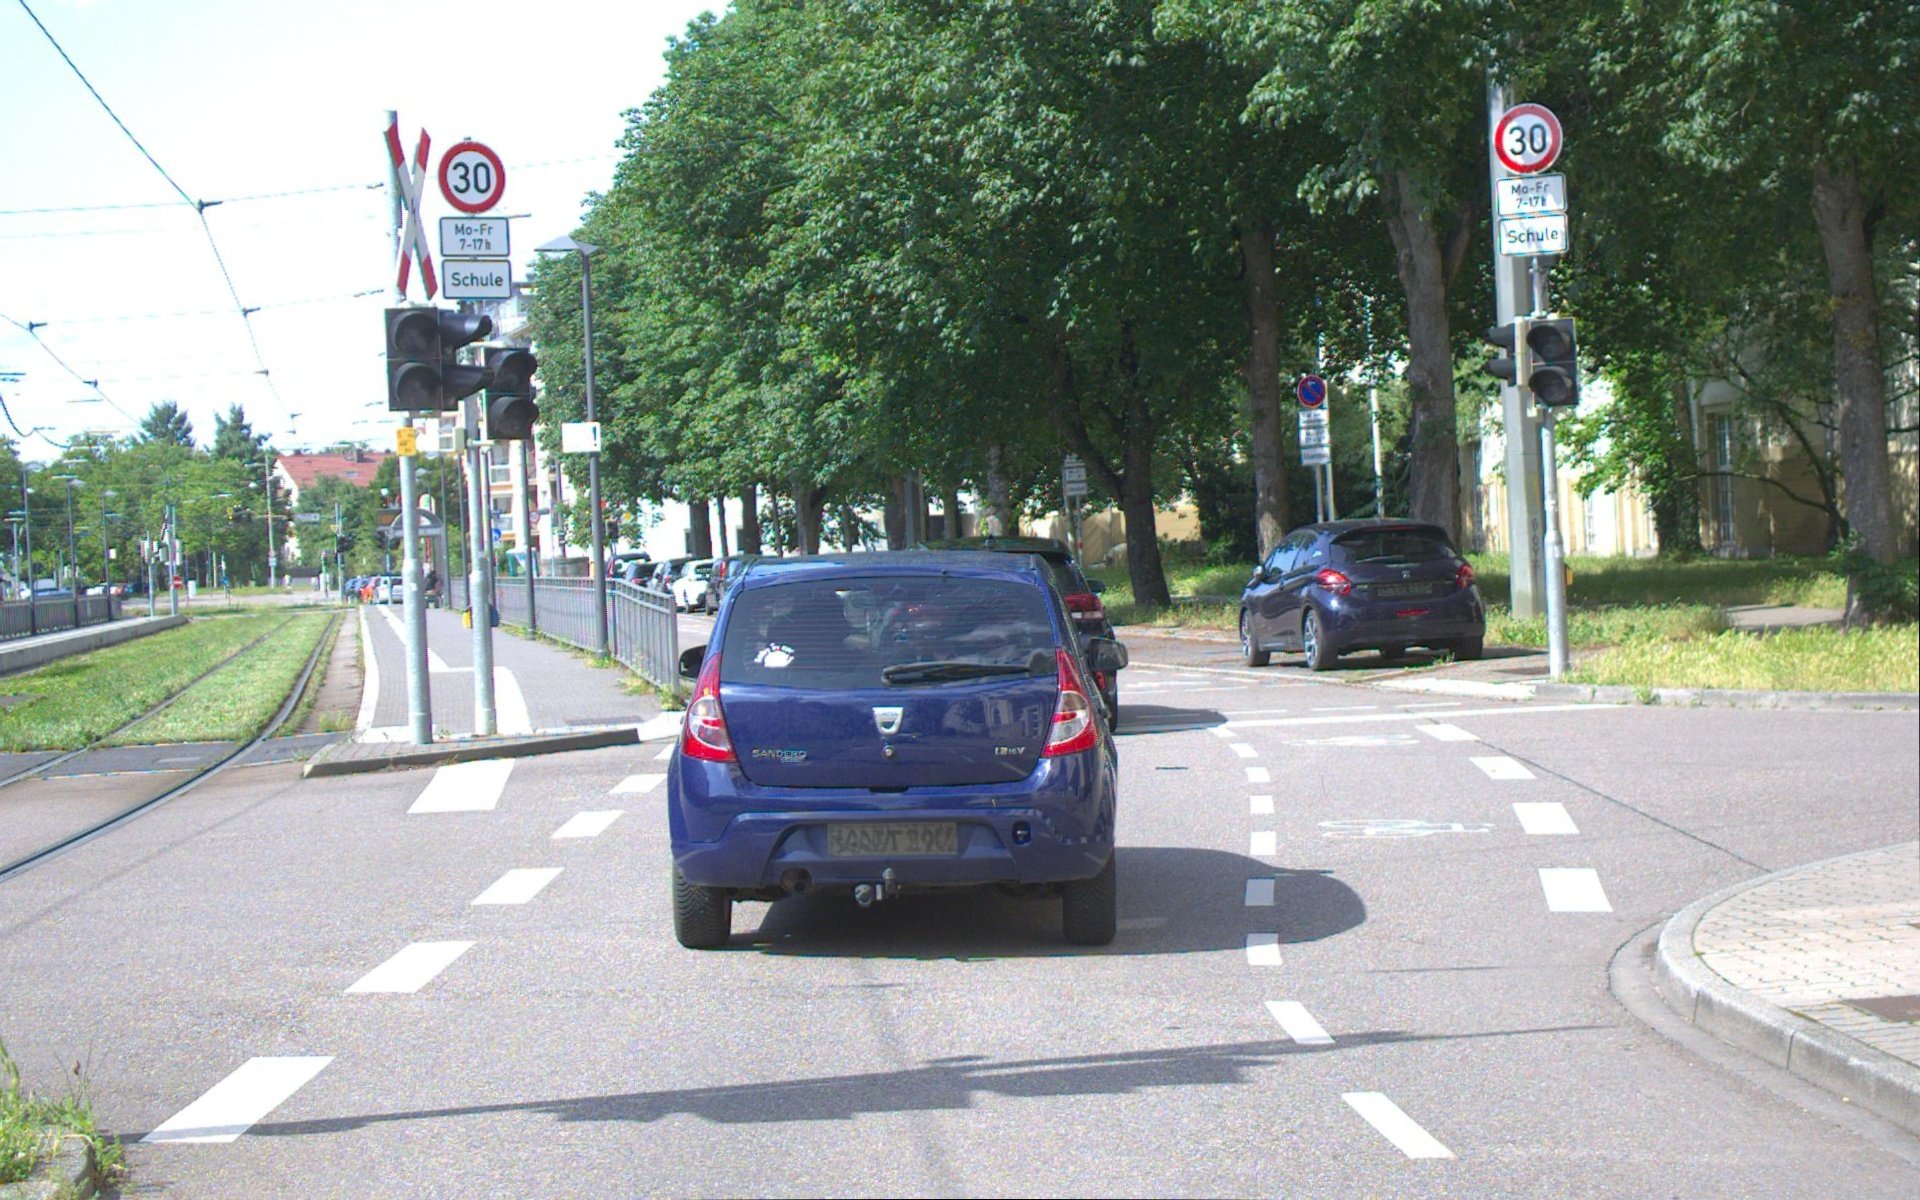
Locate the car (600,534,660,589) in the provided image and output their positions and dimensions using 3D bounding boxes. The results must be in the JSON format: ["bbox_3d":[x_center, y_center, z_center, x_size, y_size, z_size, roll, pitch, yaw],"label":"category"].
[{"bbox_3d":[-11.160,-1.307,116.359,1.830,1.755,4.001,-3,1,-4],"label":"car"}]

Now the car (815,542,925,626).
[{"bbox_3d":[-1.777,-0.335,66.817,1.861,1.440,4.001,-4,1,-4],"label":"car"}]

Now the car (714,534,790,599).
[{"bbox_3d":[-5.421,-0.879,89.409,1.827,1.532,4.001,-4,1,-4],"label":"car"}]

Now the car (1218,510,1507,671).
[{"bbox_3d":[3.991,-0.116,34.716,1.765,1.428,3.905,-4,1,-10],"label":"car"}]

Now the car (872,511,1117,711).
[{"bbox_3d":[0.238,0.031,25.955,1.700,1.363,3.515,-1,2,0],"label":"car"}]

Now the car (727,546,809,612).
[{"bbox_3d":[-4.710,-0.497,83.878,1.861,1.440,4.000,-4,0,-4],"label":"car"}]

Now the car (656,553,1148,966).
[{"bbox_3d":[-0.222,0.552,14.353,1.768,1.457,3.776,-1,1,0],"label":"car"}]

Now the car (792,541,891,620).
[{"bbox_3d":[-2.487,-0.433,71.533,1.851,1.510,4.001,-3,1,-4],"label":"car"}]

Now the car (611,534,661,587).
[{"bbox_3d":[-11.539,-1.408,122.465,1.667,1.766,4.001,-3,1,-5],"label":"car"}]

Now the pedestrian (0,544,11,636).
[{"bbox_3d":[-21.274,-0.205,75.631,0.660,2.007,0.804,-3,1,-17],"label":"pedestrian"}]

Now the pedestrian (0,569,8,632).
[{"bbox_3d":[-22.287,0.042,78.165,1.028,1.433,0.703,-5,2,-24],"label":"pedestrian"}]

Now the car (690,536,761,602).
[{"bbox_3d":[-6.673,-0.893,97.631,1.617,1.744,4.001,-3,1,-9],"label":"car"}]
